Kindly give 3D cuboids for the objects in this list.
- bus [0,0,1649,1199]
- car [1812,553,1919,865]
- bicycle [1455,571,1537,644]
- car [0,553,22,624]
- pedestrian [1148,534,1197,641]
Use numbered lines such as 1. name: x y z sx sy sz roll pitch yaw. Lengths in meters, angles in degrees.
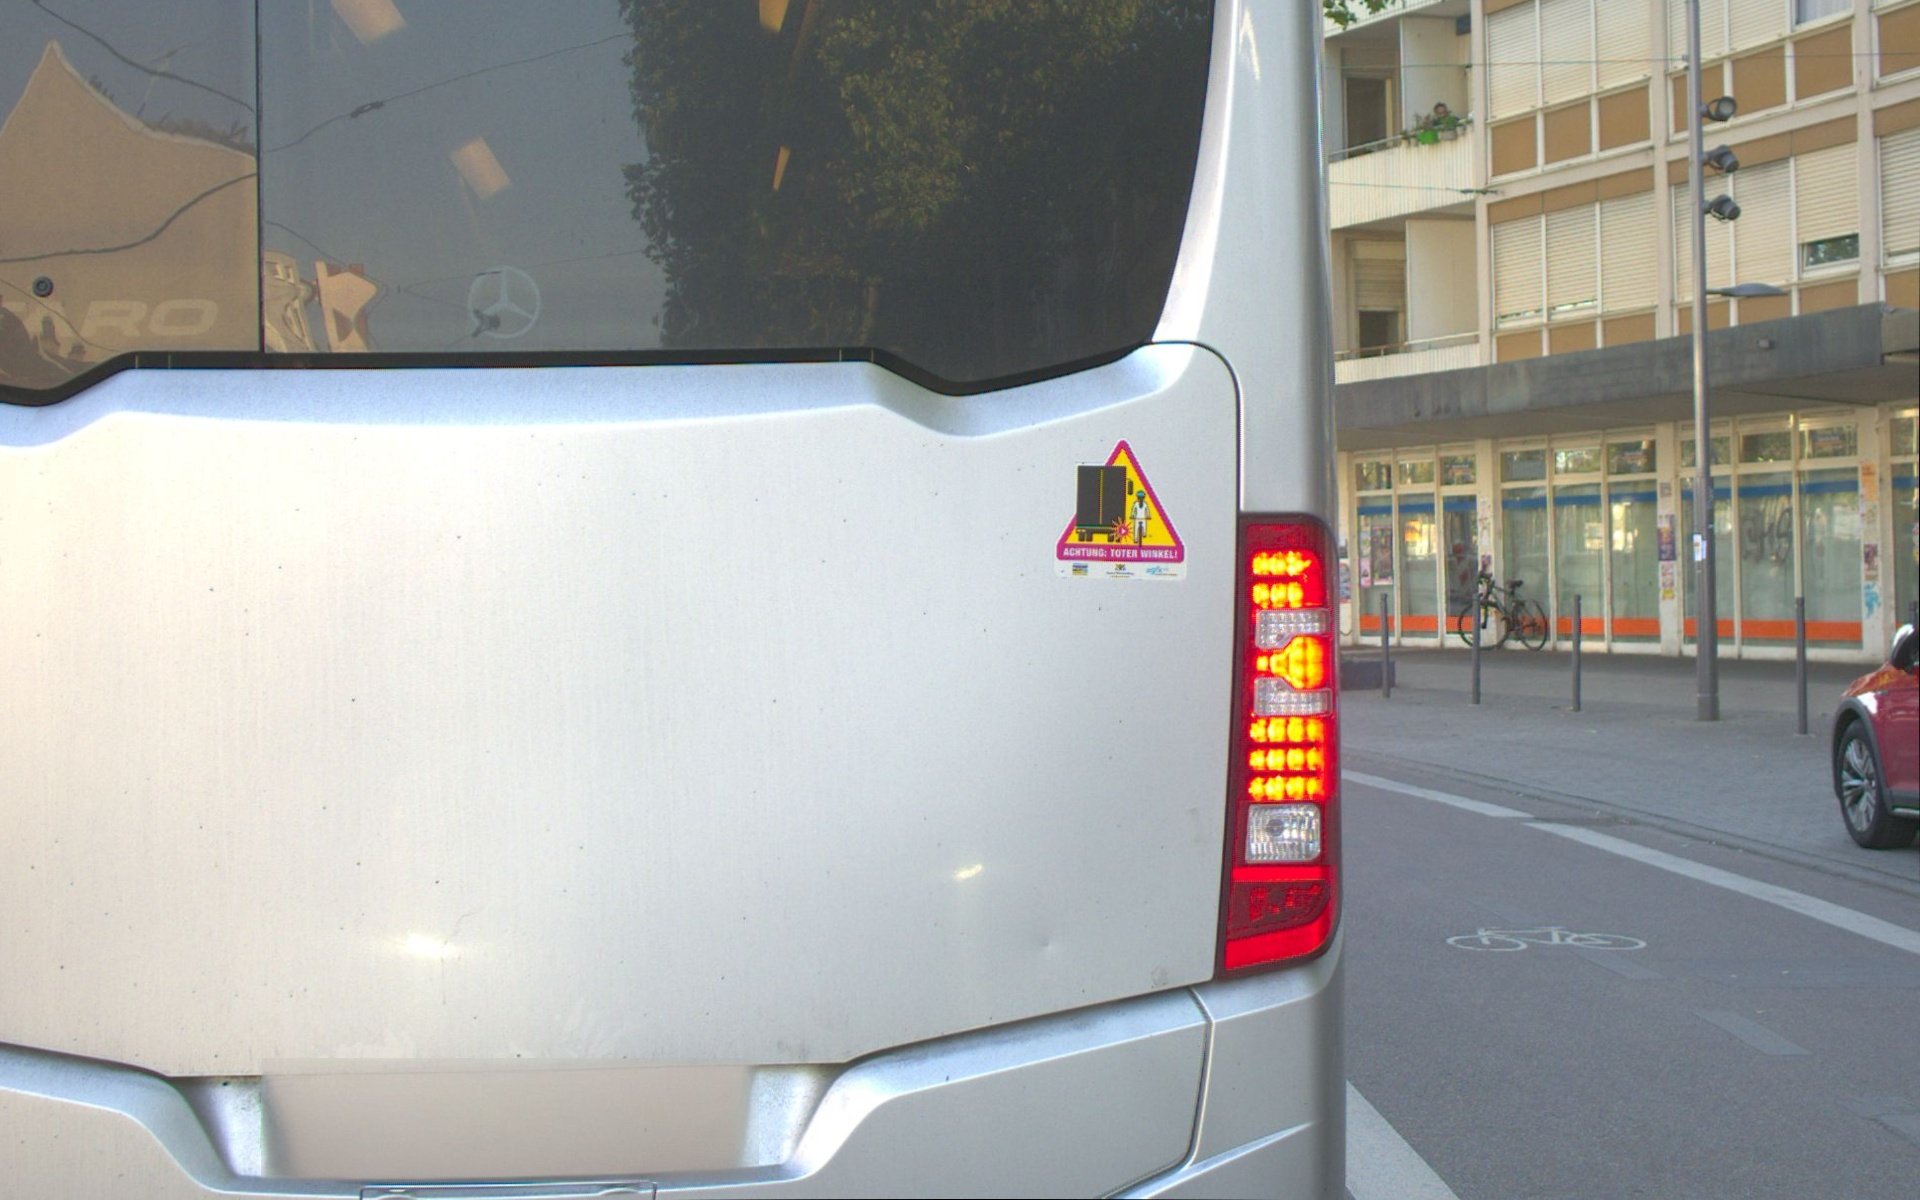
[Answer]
1. bus: -0.745 -0.121 8.171 2.630 3.017 9.998 0 1 -1
2. car: 5.514 0.507 15.851 1.769 1.477 4.304 -2 1 -4
3. bicycle: 7.103 0.092 45.624 0.412 0.941 1.441 -1 1 -20
4. car: -25.914 -0.310 88.248 1.994 1.785 3.998 1 0 -41
5. pedestrian: 3.295 -0.195 53.364 0.535 1.643 0.616 -1 1 -17
